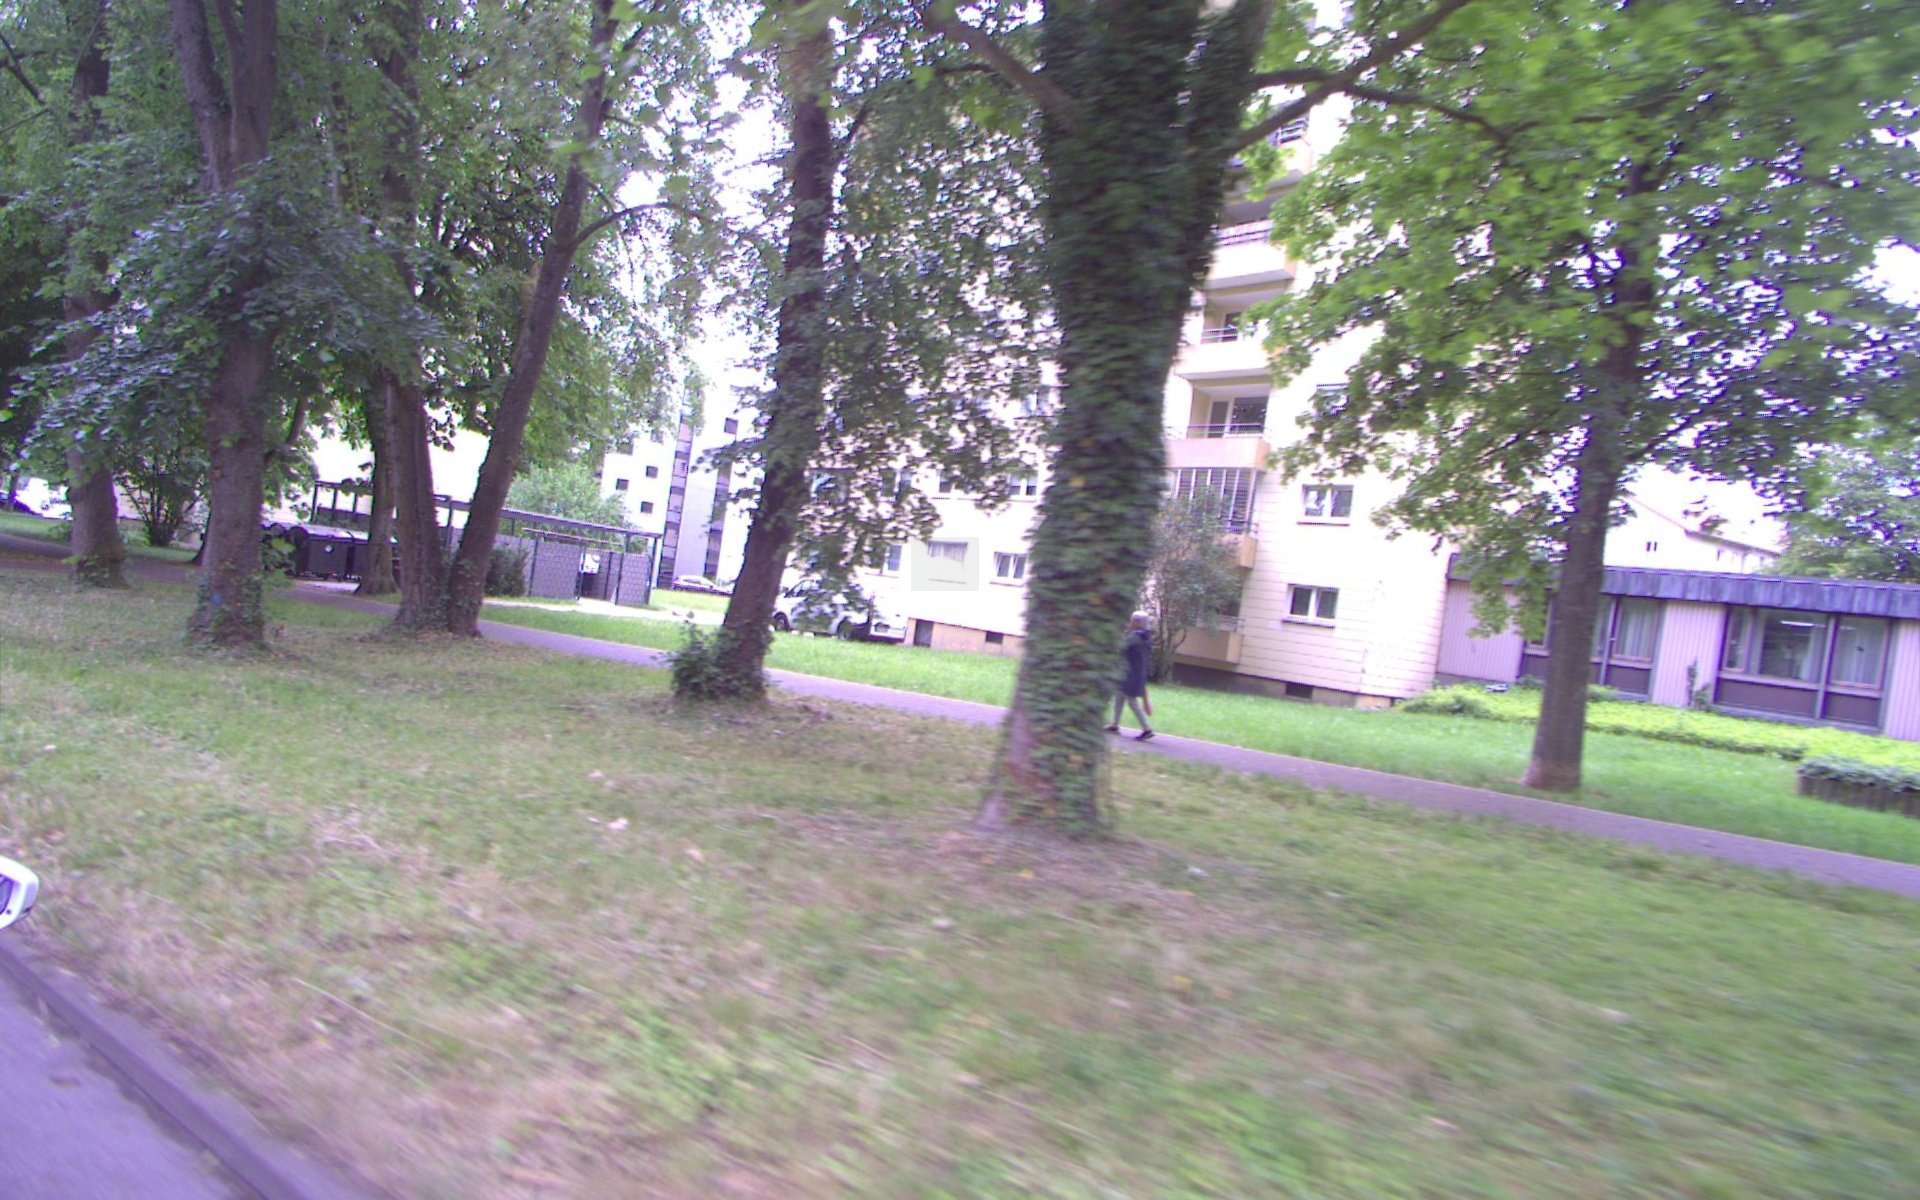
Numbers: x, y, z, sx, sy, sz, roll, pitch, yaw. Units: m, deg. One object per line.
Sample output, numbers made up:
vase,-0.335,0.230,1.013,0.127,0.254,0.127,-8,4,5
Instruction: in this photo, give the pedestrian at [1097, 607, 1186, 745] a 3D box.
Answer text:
pedestrian,2.456,1.009,13.554,0.800,1.708,0.769,7,1,29

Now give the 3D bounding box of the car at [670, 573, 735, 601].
car,-18.771,-0.945,73.232,4.279,1.528,1.791,7,-1,-23

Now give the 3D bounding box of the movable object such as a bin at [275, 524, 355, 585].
movable object such as a bin,-18.302,-1.279,28.558,1.291,1.520,1.329,7,1,27

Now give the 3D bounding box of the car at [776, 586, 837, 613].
car,-11.553,-0.042,75.564,4.270,1.528,1.795,7,0,-15

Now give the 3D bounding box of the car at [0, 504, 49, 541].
car,-57.490,-4.815,60.246,3.968,1.747,1.782,10,0,-35

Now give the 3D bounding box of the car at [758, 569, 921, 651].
car,-3.832,0.284,31.482,4.892,1.866,2.084,8,1,38

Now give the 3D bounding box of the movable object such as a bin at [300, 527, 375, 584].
movable object such as a bin,-18.833,-1.340,30.447,1.291,1.520,1.329,7,1,27

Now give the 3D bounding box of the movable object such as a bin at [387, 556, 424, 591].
movable object such as a bin,-15.934,-0.760,28.901,0.657,0.889,0.600,7,1,27

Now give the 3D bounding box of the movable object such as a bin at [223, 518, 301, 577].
movable object such as a bin,-20.664,-1.542,29.790,1.291,1.520,1.329,7,1,27

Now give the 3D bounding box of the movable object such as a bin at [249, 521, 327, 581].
movable object such as a bin,-19.484,-1.411,29.178,1.291,1.520,1.329,7,1,27

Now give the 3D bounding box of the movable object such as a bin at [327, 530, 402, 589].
movable object such as a bin,-17.639,-1.204,29.821,1.291,1.520,1.329,7,1,27
